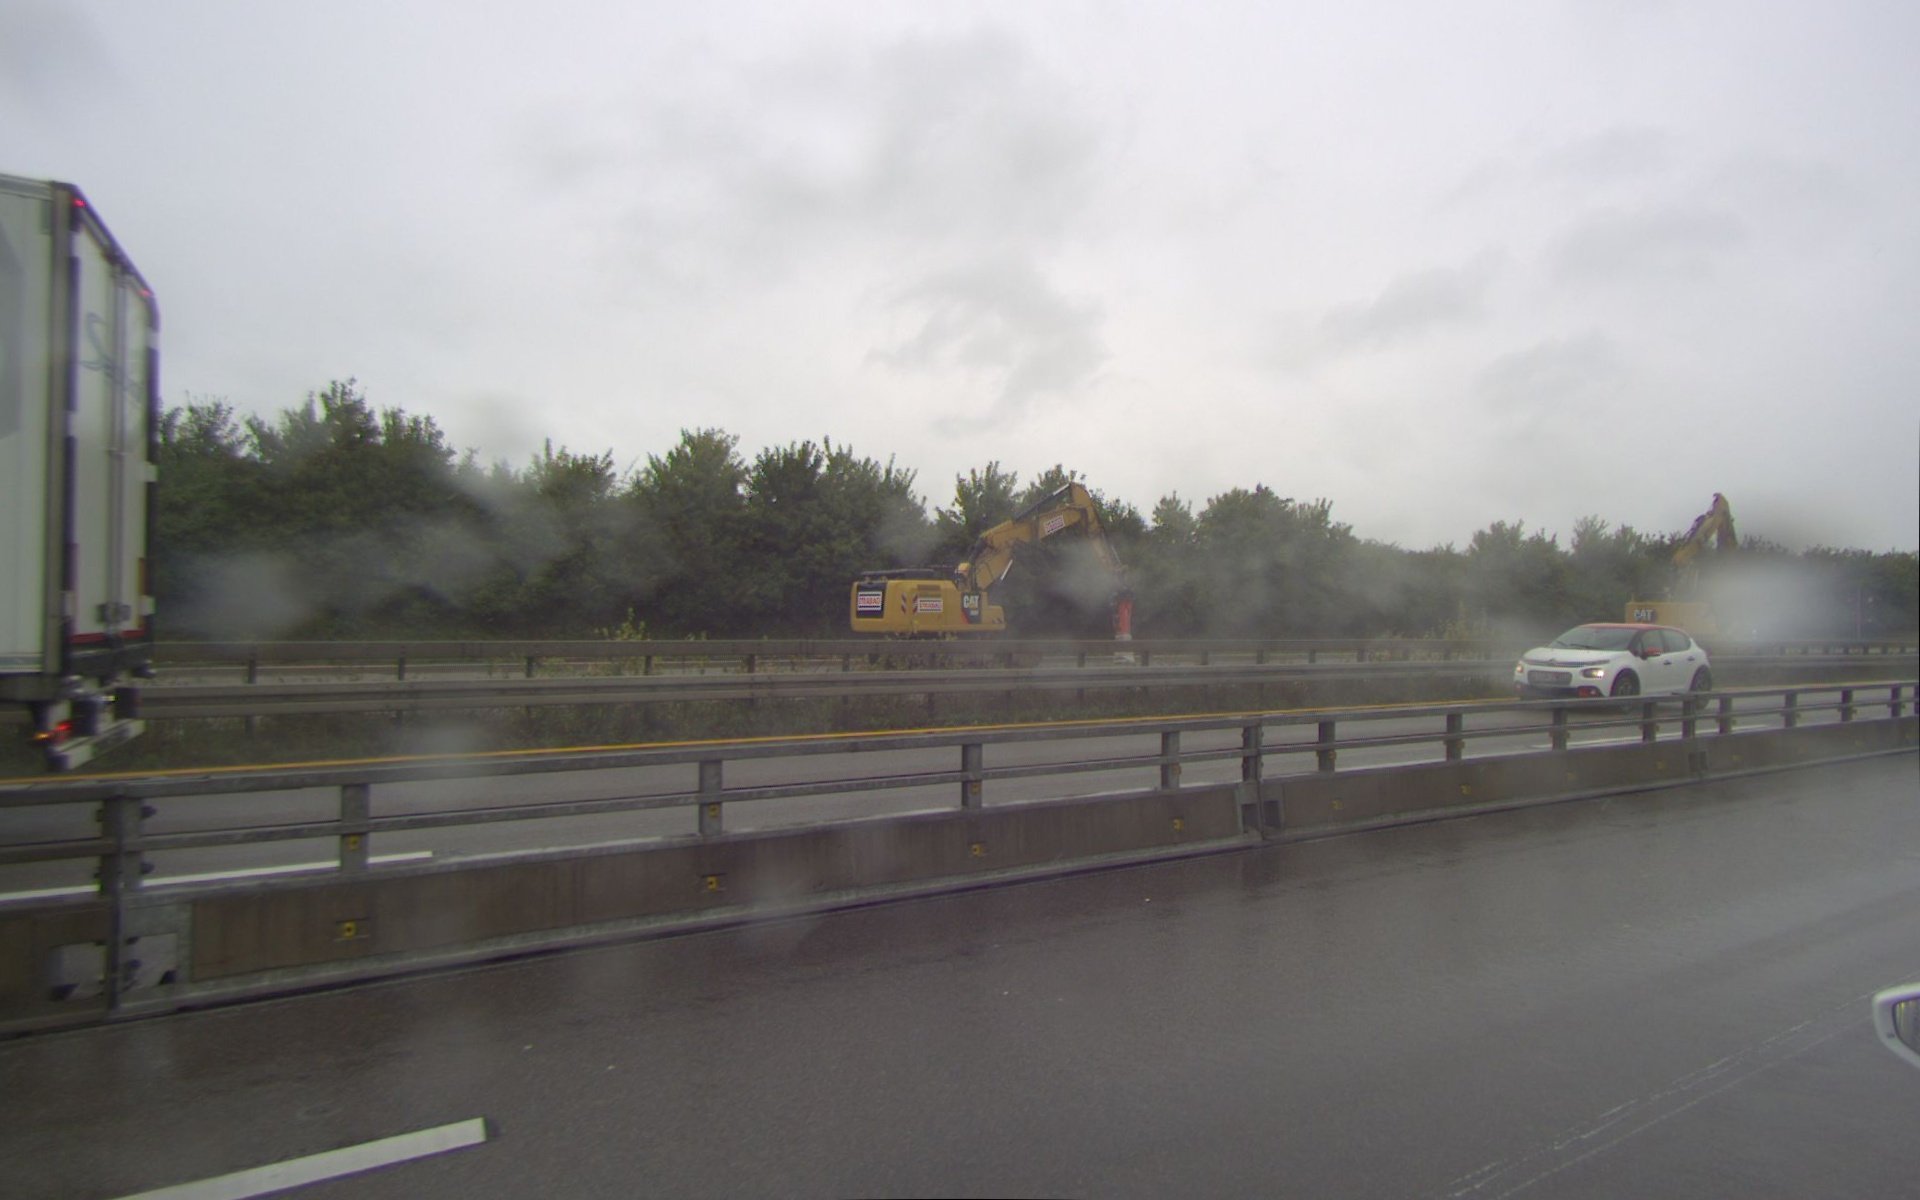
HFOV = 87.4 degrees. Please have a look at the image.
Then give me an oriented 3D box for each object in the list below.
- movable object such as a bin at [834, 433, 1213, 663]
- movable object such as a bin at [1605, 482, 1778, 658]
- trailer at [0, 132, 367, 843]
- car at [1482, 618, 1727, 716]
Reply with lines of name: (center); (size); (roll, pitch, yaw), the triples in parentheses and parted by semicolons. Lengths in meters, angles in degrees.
movable object such as a bin: (2.077, -1.228, 30.577); (10.909, 5.994, 4.153); (2, 0, -29)
movable object such as a bin: (36.870, -1.331, 50.596); (8.202, 8.252, 3.583); (2, 0, -27)
trailer: (-9.980, -0.682, 4.936); (12.076, 4.144, 2.893); (1, -1, -30)
car: (11.516, 1.133, 17.899); (4.246, 1.525, 1.984); (2, -1, -30)
